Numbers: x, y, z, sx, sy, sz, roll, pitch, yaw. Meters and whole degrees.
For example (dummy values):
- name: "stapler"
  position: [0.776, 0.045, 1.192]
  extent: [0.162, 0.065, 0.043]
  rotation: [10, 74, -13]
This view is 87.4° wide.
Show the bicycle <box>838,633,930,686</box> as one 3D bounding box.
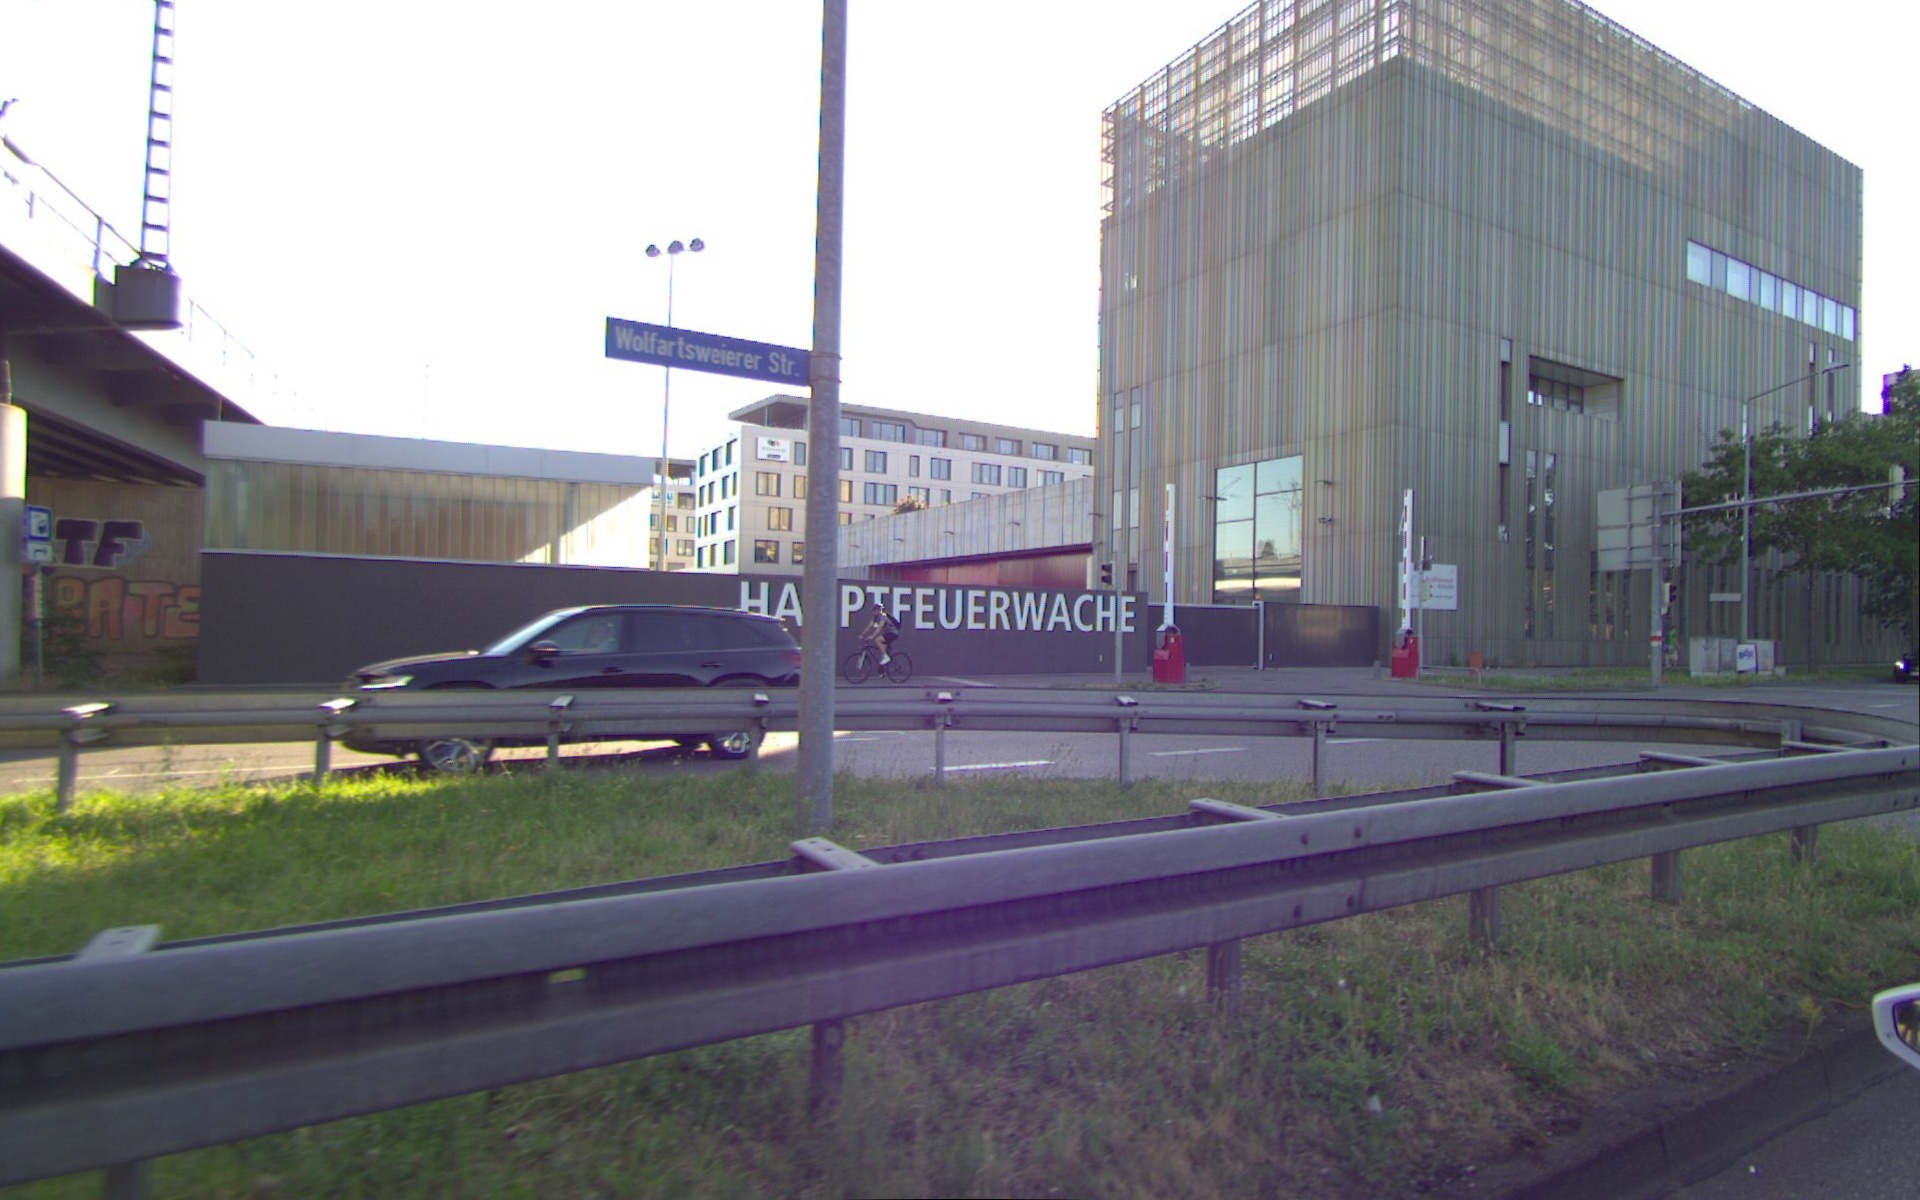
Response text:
- name: "bicycle"
  position: [-1.797, 1.385, 23.754]
  extent: [2.053, 1.172, 0.703]
  rotation: [1, 1, -26]

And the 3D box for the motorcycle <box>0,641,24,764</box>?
- name: "motorcycle"
  position: [-10.372, 0.960, 9.402]
  extent: [2.209, 1.171, 0.678]
  rotation: [3, 0, -26]

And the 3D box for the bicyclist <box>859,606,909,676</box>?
- name: "bicyclist"
  position: [-1.803, 0.956, 23.730]
  extent: [0.927, 1.584, 0.722]
  rotation: [3, 0, -25]

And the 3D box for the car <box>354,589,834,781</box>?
- name: "car"
  position: [-3.917, 0.926, 11.063]
  extent: [4.627, 1.718, 1.984]
  rotation: [3, -5, -31]

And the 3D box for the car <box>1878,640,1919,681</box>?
- name: "car"
  position: [35.447, 2.229, 36.441]
  extent: [4.300, 1.418, 1.984]
  rotation: [3, -5, -31]
